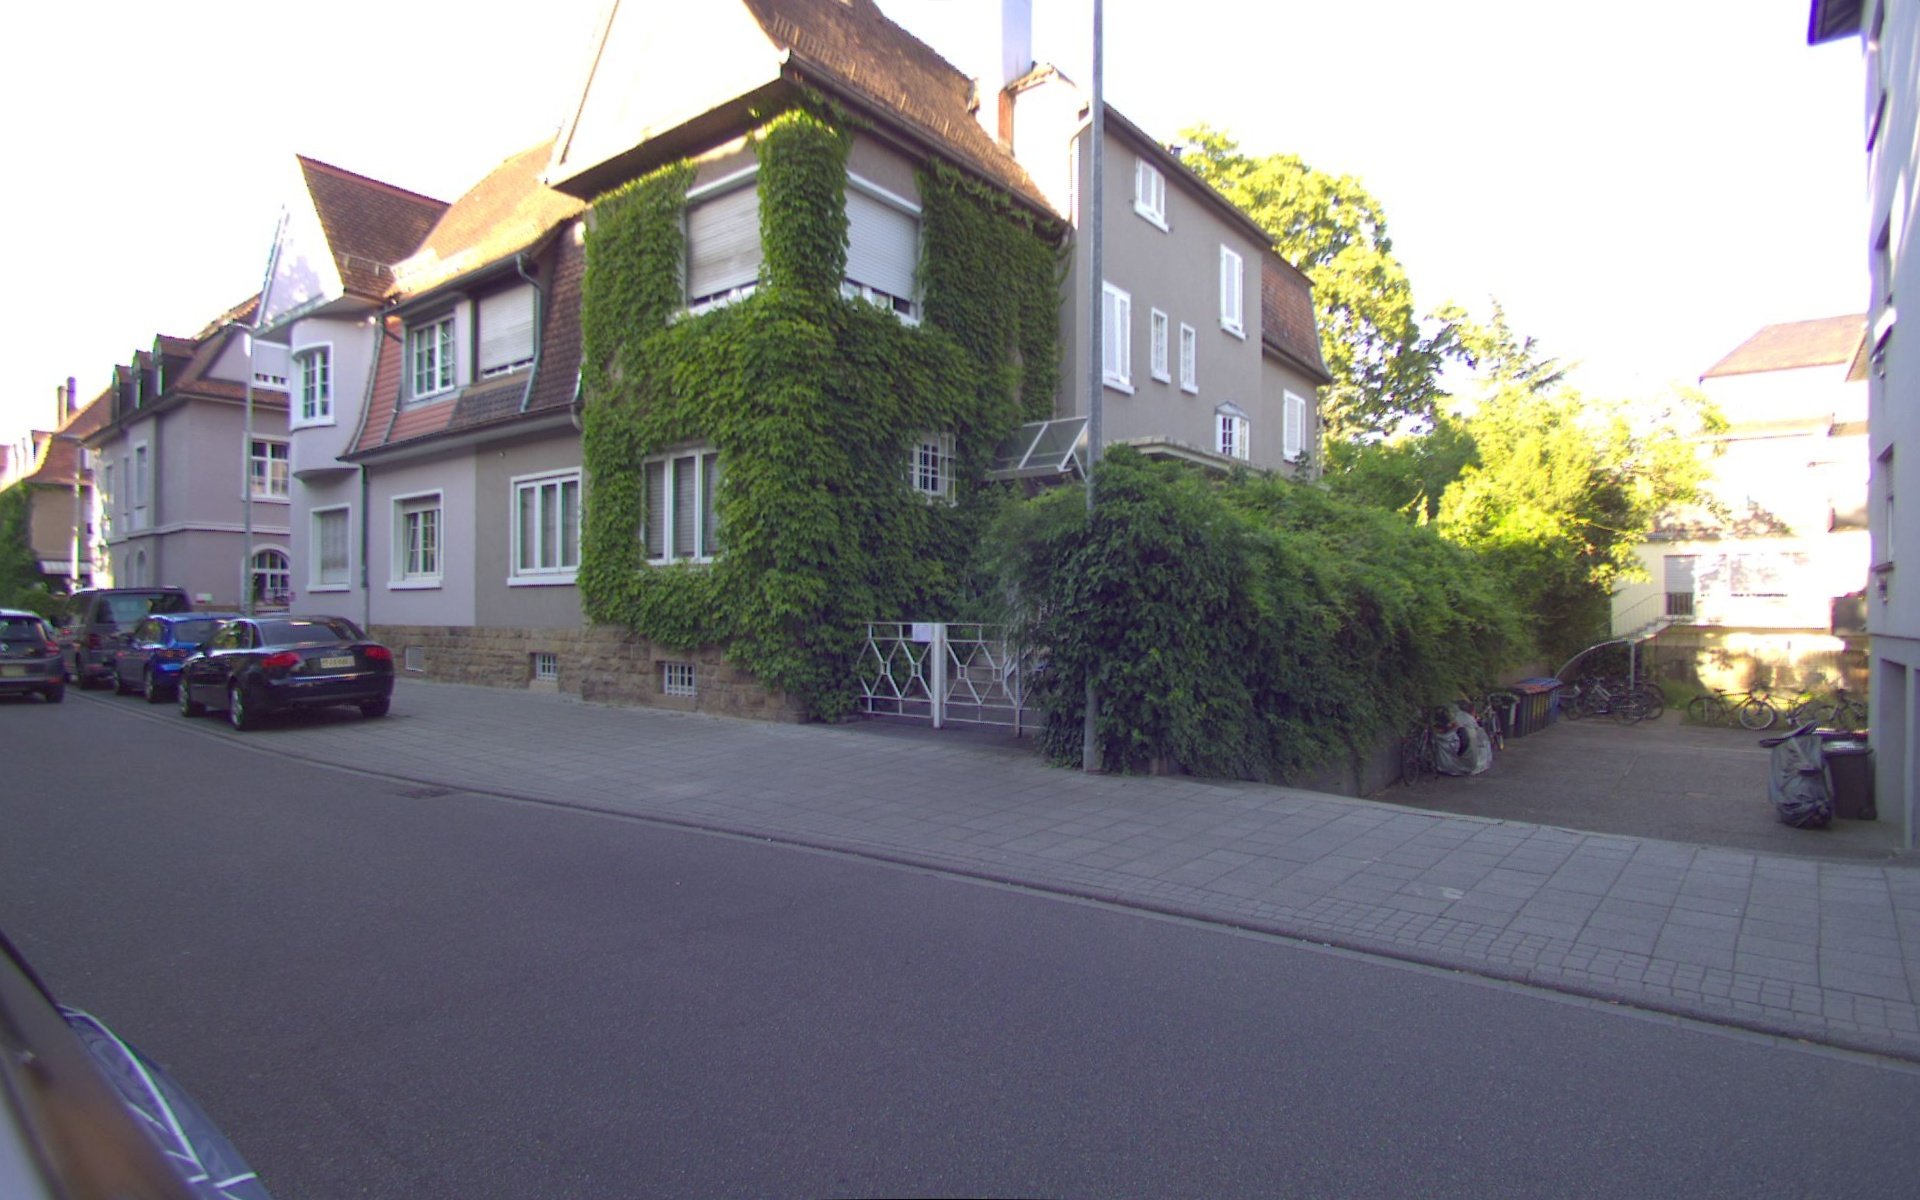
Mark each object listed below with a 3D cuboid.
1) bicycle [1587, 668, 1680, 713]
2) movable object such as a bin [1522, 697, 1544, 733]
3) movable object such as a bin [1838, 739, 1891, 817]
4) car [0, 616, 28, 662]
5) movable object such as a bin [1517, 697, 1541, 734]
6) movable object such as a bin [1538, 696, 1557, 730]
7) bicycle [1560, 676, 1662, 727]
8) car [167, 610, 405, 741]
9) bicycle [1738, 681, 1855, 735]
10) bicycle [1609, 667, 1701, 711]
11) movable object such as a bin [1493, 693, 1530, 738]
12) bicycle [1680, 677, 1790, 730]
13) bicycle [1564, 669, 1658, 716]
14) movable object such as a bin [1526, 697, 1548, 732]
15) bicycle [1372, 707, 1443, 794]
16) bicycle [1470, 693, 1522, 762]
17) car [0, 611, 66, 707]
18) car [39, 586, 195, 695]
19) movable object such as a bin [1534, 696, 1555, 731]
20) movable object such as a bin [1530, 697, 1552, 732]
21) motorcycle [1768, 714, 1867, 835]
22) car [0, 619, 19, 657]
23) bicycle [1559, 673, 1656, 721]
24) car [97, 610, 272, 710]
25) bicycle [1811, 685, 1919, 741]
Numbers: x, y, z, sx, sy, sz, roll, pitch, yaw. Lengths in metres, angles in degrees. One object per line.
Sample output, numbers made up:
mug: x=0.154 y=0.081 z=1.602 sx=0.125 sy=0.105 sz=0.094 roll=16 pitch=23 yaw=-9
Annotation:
bicycle: x=18.589 y=2.481 z=27.975 sx=2.068 sy=1.028 sz=0.608 roll=1 pitch=3 yaw=41
movable object such as a bin: x=12.742 y=2.555 z=22.502 sx=0.381 sy=0.779 sz=0.359 roll=-1 pitch=-4 yaw=41
movable object such as a bin: x=11.731 y=2.291 z=13.137 sx=0.432 sy=0.894 sz=0.717 roll=-1 pitch=-3 yaw=37
car: x=-30.701 y=1.234 z=31.841 sx=3.943 sy=1.381 sz=1.522 roll=-1 pitch=1 yaw=40
movable object such as a bin: x=12.480 y=2.530 z=22.207 sx=0.398 sy=0.779 sz=0.359 roll=-1 pitch=-4 yaw=41
movable object such as a bin: x=13.760 y=2.645 z=23.702 sx=0.346 sy=0.764 sz=0.359 roll=-1 pitch=-4 yaw=41
bicycle: x=16.246 y=2.513 z=25.296 sx=2.068 sy=1.028 sz=0.634 roll=1 pitch=3 yaw=41
car: x=-9.320 y=0.909 z=13.871 sx=4.023 sy=1.439 sz=1.729 roll=0 pitch=2 yaw=42
bicycle: x=19.547 y=2.502 z=23.692 sx=2.068 sy=1.028 sz=0.634 roll=1 pitch=3 yaw=41
bicycle: x=19.391 y=2.471 z=28.280 sx=2.068 sy=1.028 sz=0.561 roll=1 pitch=3 yaw=41
movable object such as a bin: x=11.514 y=2.407 z=21.133 sx=0.576 sy=0.886 sz=0.488 roll=0 pitch=-3 yaw=41
bicycle: x=18.688 y=2.482 z=24.430 sx=2.068 sy=1.028 sz=0.634 roll=1 pitch=3 yaw=41
bicycle: x=17.672 y=2.493 z=27.510 sx=2.068 sy=1.028 sz=0.608 roll=1 pitch=3 yaw=41
movable object such as a bin: x=12.994 y=2.580 z=22.803 sx=0.375 sy=0.764 sz=0.359 roll=-1 pitch=-4 yaw=41
bicycle: x=6.739 y=2.223 z=15.200 sx=0.514 sy=1.027 sz=1.914 roll=1 pitch=0 yaw=38
bicycle: x=9.928 y=2.326 z=18.711 sx=0.514 sy=1.027 sz=1.914 roll=1 pitch=0 yaw=38
car: x=-16.685 y=0.954 z=17.175 sx=3.587 sy=1.513 sz=1.600 roll=-1 pitch=-3 yaw=38
car: x=-17.572 y=0.765 z=21.031 sx=4.308 sy=1.987 sz=1.698 roll=0 pitch=2 yaw=40
movable object such as a bin: x=13.508 y=2.614 z=23.393 sx=0.367 sy=0.764 sz=0.359 roll=-1 pitch=-4 yaw=41
movable object such as a bin: x=13.256 y=2.600 z=23.096 sx=0.367 sy=0.764 sz=0.359 roll=-1 pitch=-4 yaw=41
motorcycle: x=10.693 y=2.132 z=12.672 sx=0.757 sy=1.261 sz=1.575 roll=-1 pitch=-3 yaw=34
car: x=-36.600 y=1.428 z=37.766 sx=3.942 sy=1.381 sz=1.698 roll=-1 pitch=1 yaw=40
bicycle: x=16.811 y=2.505 z=26.307 sx=2.068 sy=1.028 sz=0.565 roll=1 pitch=3 yaw=41
car: x=-13.752 y=0.965 z=17.864 sx=4.021 sy=1.475 sz=1.591 roll=0 pitch=2 yaw=40
bicycle: x=20.541 y=2.527 z=22.808 sx=2.068 sy=1.028 sz=0.634 roll=1 pitch=3 yaw=41
